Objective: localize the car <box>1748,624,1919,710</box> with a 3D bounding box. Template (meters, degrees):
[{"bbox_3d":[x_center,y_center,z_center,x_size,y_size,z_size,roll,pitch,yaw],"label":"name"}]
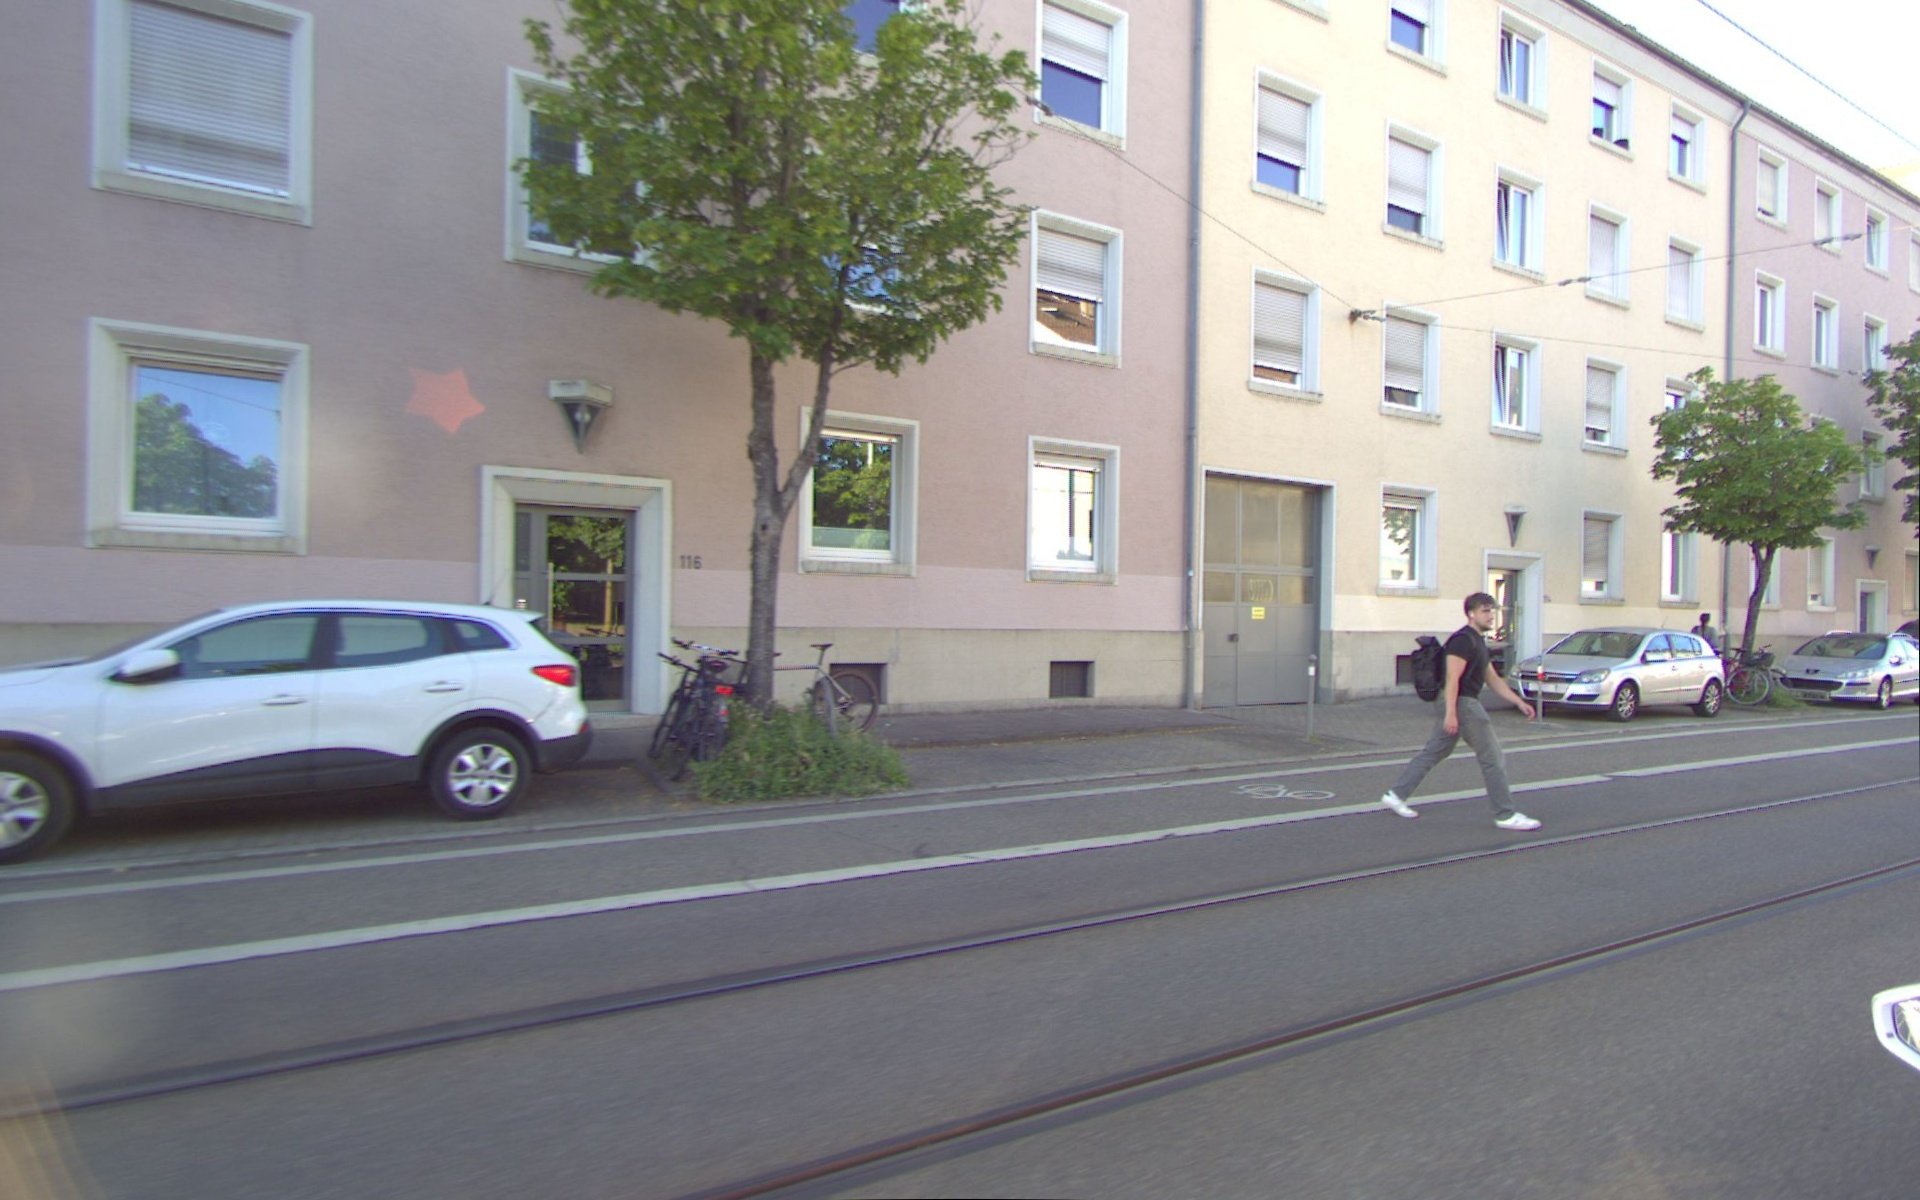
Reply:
[{"bbox_3d":[18.513,1.331,20.834,4.625,1.528,1.800,1,0,-30],"label":"car"}]

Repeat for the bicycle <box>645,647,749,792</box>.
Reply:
[{"bbox_3d":[-2.424,1.018,9.117,0.470,1.060,1.917,1,1,-28],"label":"bicycle"}]

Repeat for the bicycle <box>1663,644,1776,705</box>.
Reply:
[{"bbox_3d":[14.364,1.387,19.038,0.470,1.015,1.660,1,1,-26],"label":"bicycle"}]

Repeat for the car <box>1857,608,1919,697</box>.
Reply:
[{"bbox_3d":[23.318,1.239,23.820,4.283,1.969,1.800,1,1,-30],"label":"car"}]

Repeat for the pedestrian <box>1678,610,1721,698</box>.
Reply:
[{"bbox_3d":[15.850,1.145,21.527,0.536,1.850,0.533,1,1,-30],"label":"pedestrian"}]

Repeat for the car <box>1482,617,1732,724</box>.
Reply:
[{"bbox_3d":[10.810,1.108,16.725,4.142,1.528,1.800,1,0,-30],"label":"car"}]

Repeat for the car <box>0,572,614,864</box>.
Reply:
[{"bbox_3d":[-4.908,0.700,7.272,4.252,1.690,1.641,1,1,-34],"label":"car"}]

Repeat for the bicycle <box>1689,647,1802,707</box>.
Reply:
[{"bbox_3d":[15.274,1.484,19.575,0.473,1.015,1.652,1,1,-40],"label":"bicycle"}]

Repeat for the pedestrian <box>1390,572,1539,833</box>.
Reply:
[{"bbox_3d":[3.761,0.716,7.488,0.839,1.800,0.732,-1,-1,41],"label":"pedestrian"}]

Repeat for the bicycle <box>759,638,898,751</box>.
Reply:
[{"bbox_3d":[-1.373,0.970,10.589,1.423,1.116,0.327,1,1,-31],"label":"bicycle"}]
